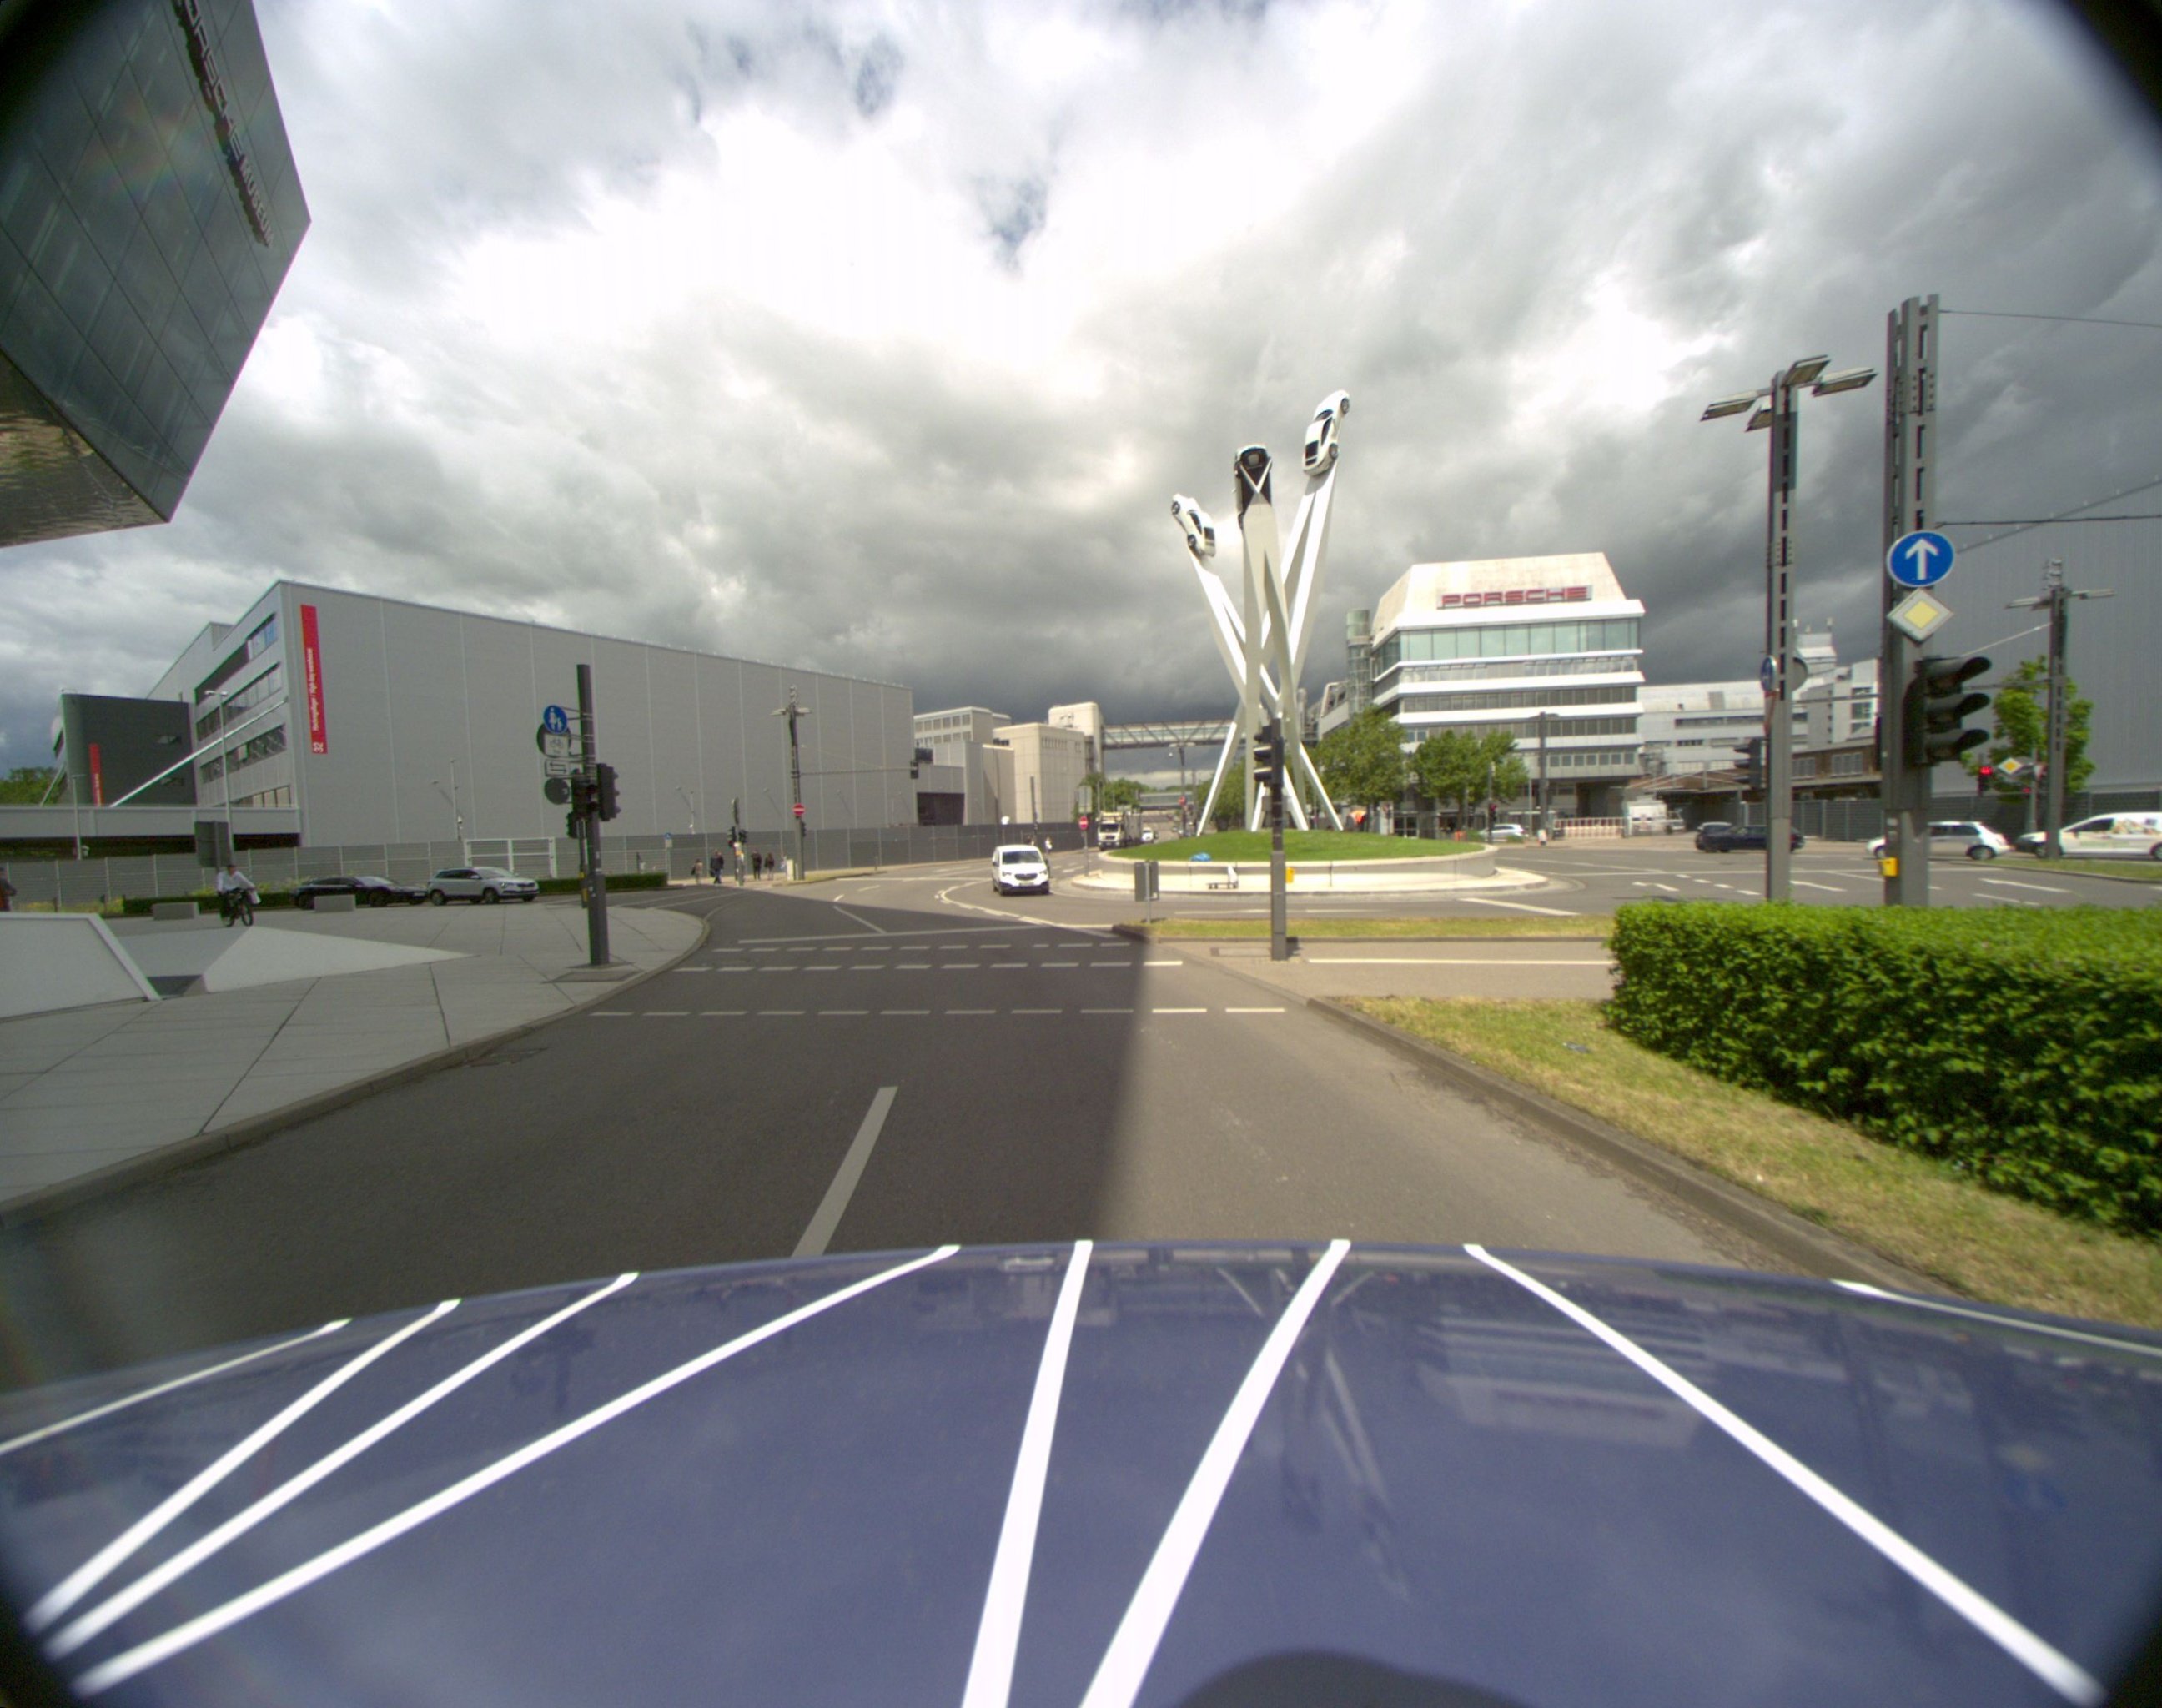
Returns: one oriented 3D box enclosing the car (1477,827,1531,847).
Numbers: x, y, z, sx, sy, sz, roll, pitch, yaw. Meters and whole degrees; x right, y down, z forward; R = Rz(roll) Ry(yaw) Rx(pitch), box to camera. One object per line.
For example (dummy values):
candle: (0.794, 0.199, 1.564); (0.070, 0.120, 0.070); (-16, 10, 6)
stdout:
car: (35.954, -1.456, 64.596); (3.599, 1.474, 1.815); (-1, 4, 44)

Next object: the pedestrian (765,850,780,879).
pedestrian: (-18.011, 0.628, 44.378); (0.673, 1.629, 0.619); (-5, 4, -21)

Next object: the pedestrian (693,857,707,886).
pedestrian: (-20.922, 0.955, 41.714); (0.584, 1.488, 0.770); (-5, 4, -26)

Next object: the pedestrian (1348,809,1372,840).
pedestrian: (13.376, -1.409, 36.449); (0.853, 1.400, 0.966); (6, 7, 28)

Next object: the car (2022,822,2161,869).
car: (39.799, -0.336, 29.277); (2.003, 1.615, 4.280); (-5, 3, -33)

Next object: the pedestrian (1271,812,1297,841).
pedestrian: (12.736, -1.753, 47.764); (1.286, 1.807, 0.985); (-1, 3, -10)

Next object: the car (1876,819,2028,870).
car: (34.095, -0.368, 29.824); (1.915, 1.787, 3.765); (-6, 4, -36)

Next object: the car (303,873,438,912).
car: (-30.653, 1.646, 32.861); (4.154, 1.375, 1.838); (-3, 1, 3)

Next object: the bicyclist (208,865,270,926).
bicyclist: (-24.087, 1.187, 21.741); (0.935, 1.644, 0.773); (-2, 4, 23)

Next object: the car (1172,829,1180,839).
car: (22.474, -4.706, 179.459); (1.871, 1.945, 4.711); (-4, 3, 7)

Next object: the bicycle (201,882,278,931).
bicycle: (-24.089, 1.504, 21.751); (1.922, 1.267, 0.781); (-2, 3, 23)

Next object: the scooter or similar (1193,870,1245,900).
scooter or similar: (4.263, 0.951, 23.471); (1.258, 0.843, 0.910); (-1, 2, 38)

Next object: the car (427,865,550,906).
car: (-24.665, 1.290, 31.691); (3.993, 1.542, 1.839); (-1, 4, 12)

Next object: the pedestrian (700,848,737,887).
pedestrian: (-19.185, 0.716, 40.211); (0.954, 1.973, 1.383); (-2, 1, 22)

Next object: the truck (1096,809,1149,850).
truck: (4.418, -2.569, 78.164); (2.709, 3.864, 10.751); (-1, 3, 18)

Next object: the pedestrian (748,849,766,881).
pedestrian: (-18.698, 0.636, 43.845); (0.621, 1.785, 0.671); (-6, 4, -37)

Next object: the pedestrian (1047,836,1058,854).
pedestrian: (-2.605, -0.841, 70.016); (0.660, 1.599, 0.823); (-2, 3, 17)

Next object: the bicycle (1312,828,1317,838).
bicycle: (27.056, -2.445, 88.066); (0.297, 1.125, 1.485); (-3, 3, 9)

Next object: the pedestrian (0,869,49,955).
pedestrian: (-23.960, 1.295, 16.774); (0.830, 1.816, 0.922); (-4, 3, -3)

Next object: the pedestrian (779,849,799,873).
pedestrian: (-20.412, 0.510, 53.144); (0.693, 1.578, 0.922); (-1, 4, 38)

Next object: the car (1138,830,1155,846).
car: (8.708, -2.170, 100.559); (1.997, 1.840, 4.000); (-3, 3, 8)

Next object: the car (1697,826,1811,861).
car: (33.996, -0.551, 38.460); (1.805, 1.548, 3.948); (-5, 3, -30)

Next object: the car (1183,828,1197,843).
car: (16.566, -2.807, 115.522); (1.871, 1.945, 4.711); (-4, 3, 7)

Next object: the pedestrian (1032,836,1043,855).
pedestrian: (-3.838, -0.777, 67.157); (0.664, 1.607, 0.464); (-6, 4, -39)

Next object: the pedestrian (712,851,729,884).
pedestrian: (-20.302, 0.755, 42.817); (0.621, 1.750, 0.605); (-6, 4, -38)

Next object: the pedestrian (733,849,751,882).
pedestrian: (-19.328, 0.654, 43.358); (0.621, 1.837, 0.671); (-6, 4, -39)

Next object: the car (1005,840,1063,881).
car: (-2.383, 0.289, 40.062); (1.870, 1.944, 4.714); (-2, 1, 11)

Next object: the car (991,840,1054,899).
car: (-2.334, 0.527, 29.215); (1.826, 2.002, 4.386); (-2, 1, -11)

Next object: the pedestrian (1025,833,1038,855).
pedestrian: (-4.386, -0.864, 66.787); (0.794, 1.856, 0.660); (-6, 4, -33)
